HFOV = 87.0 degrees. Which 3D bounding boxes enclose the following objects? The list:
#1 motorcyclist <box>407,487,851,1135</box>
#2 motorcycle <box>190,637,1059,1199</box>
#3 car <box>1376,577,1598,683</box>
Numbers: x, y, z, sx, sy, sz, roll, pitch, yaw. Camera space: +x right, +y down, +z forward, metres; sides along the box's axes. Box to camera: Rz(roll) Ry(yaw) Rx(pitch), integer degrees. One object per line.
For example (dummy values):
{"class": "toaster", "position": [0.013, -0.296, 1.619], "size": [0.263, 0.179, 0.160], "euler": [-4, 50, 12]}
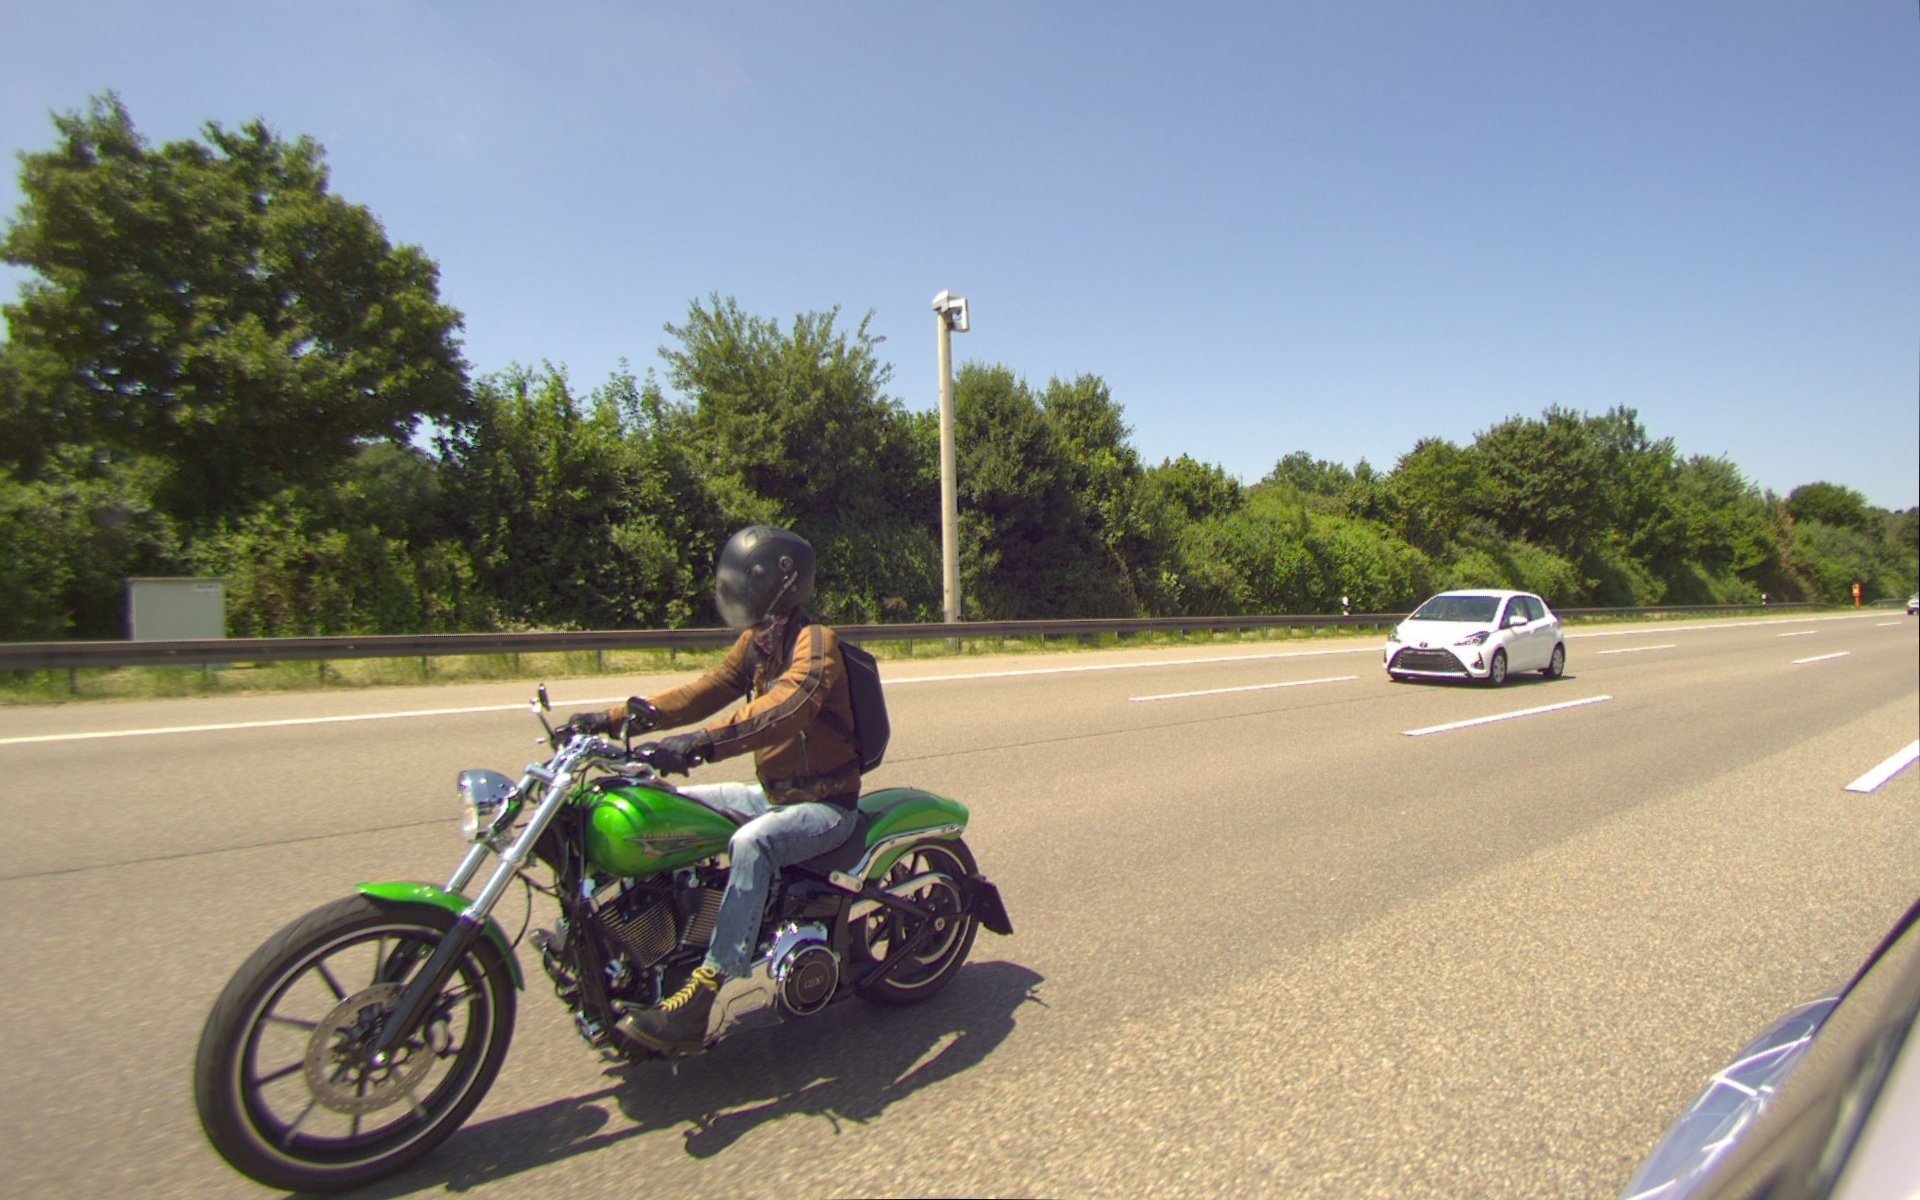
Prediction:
{"class": "motorcyclist", "position": [-0.963, 0.462, 2.896], "size": [1.004, 1.445, 0.855], "euler": [0, 1, -35]}
{"class": "motorcycle", "position": [-0.795, 0.728, 3.046], "size": [2.390, 1.150, 0.537], "euler": [0, 1, -35]}
{"class": "car", "position": [8.885, 0.456, 16.913], "size": [4.404, 1.538, 1.753], "euler": [1, 0, -40]}
